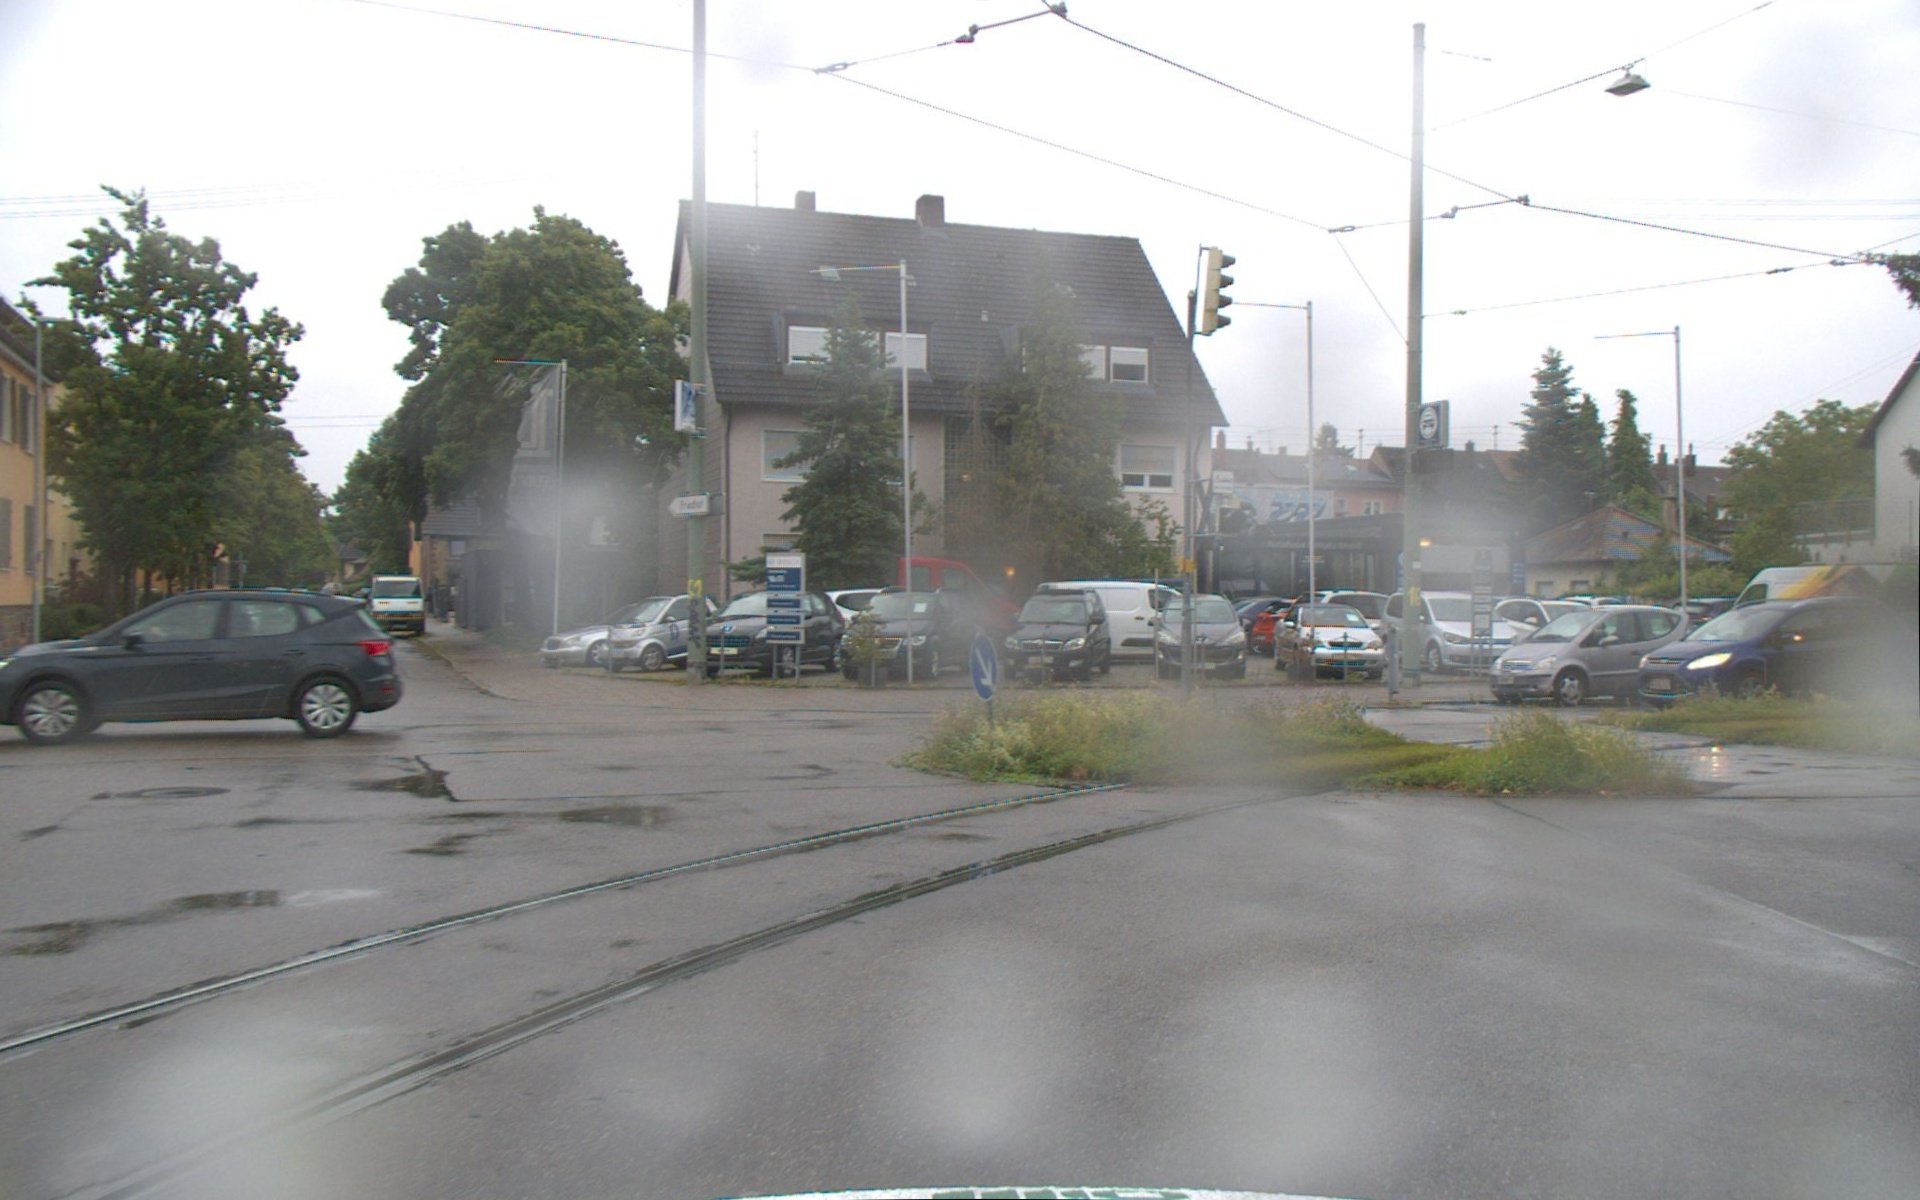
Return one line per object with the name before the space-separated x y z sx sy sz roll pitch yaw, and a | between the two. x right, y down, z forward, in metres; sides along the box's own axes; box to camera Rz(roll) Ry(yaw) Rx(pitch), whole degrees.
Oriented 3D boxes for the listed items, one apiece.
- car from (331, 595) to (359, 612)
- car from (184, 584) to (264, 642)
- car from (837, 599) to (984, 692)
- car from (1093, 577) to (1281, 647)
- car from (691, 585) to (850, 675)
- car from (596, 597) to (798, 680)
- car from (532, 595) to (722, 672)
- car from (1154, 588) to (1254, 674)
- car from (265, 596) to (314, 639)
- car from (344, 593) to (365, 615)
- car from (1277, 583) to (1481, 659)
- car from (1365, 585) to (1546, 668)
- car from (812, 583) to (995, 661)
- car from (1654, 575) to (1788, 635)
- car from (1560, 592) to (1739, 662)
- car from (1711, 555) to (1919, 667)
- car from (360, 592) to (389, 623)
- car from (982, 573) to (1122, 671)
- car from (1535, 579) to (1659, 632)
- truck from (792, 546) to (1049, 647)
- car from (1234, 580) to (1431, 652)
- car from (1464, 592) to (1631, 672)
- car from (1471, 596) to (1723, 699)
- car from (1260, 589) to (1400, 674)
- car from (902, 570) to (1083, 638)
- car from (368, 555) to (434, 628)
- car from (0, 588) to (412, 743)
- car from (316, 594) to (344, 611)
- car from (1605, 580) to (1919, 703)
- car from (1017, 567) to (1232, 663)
car | -64.975 0.335 174.791 1.813 1.727 3.982 3 -1 -35
car | -22.104 0.392 49.792 1.965 1.646 3.975 0 -1 -21
car | -0.855 0.799 30.880 1.763 1.606 3.875 -1 0 14
car | 5.821 0.306 42.524 4.361 1.717 1.991 0 -1 -17
car | -3.526 0.535 31.498 1.763 1.606 3.875 -1 0 14
car | -5.483 0.761 34.635 3.833 1.606 1.783 -1 0 -39
car | -7.469 0.721 37.268 3.833 1.606 1.783 -1 0 -39
car | 4.839 0.601 32.544 1.789 1.531 4.061 2 -1 10
car | -33.465 0.849 82.632 1.963 2.049 3.978 2 -1 -19
car | -57.887 0.392 158.176 1.802 2.049 3.975 2 -1 -21
car | 9.791 0.475 38.713 4.361 1.717 1.752 0 -1 -17
car | 10.185 0.520 34.284 1.773 1.606 3.854 -1 0 -17
car | -1.192 0.480 36.244 3.884 1.626 2.000 0 -1 1
car | 21.684 0.159 47.083 4.359 1.608 1.838 0 -1 -41
car | 15.207 0.587 36.688 1.689 1.420 3.826 2 -1 -15
car | 20.686 0.271 39.446 2.112 2.448 5.121 2 -1 -19
car | -40.935 0.491 115.568 1.802 2.049 3.975 2 -1 -21
car | 1.826 0.398 31.444 1.951 1.747 4.003 0 0 14
car | 20.158 0.194 52.267 4.406 1.608 1.767 0 -1 -41
truck | -0.907 -0.061 39.371 5.957 2.312 2.000 0 -1 1
car | 9.219 0.394 41.023 4.361 1.717 1.991 0 -1 -17
car | 12.749 0.675 36.104 1.689 1.600 3.602 2 -1 -15
car | 10.488 0.776 27.291 3.574 1.531 1.715 2 -1 -17
car | 7.353 0.619 33.204 1.790 1.531 4.057 2 -1 -1
car | 0.844 0.102 43.277 4.361 1.717 1.991 0 -1 -17
car | -21.123 -0.304 62.406 2.122 2.617 4.108 2 -1 -21
car | -7.897 0.628 17.542 3.929 1.502 1.988 0 0 -21
car | -68.327 0.267 179.343 1.813 1.727 3.982 3 -1 -35
car | 12.159 0.628 24.761 4.491 1.633 1.988 2 -1 -21
car | 3.646 0.335 36.852 4.361 2.049 1.991 0 -1 -17
